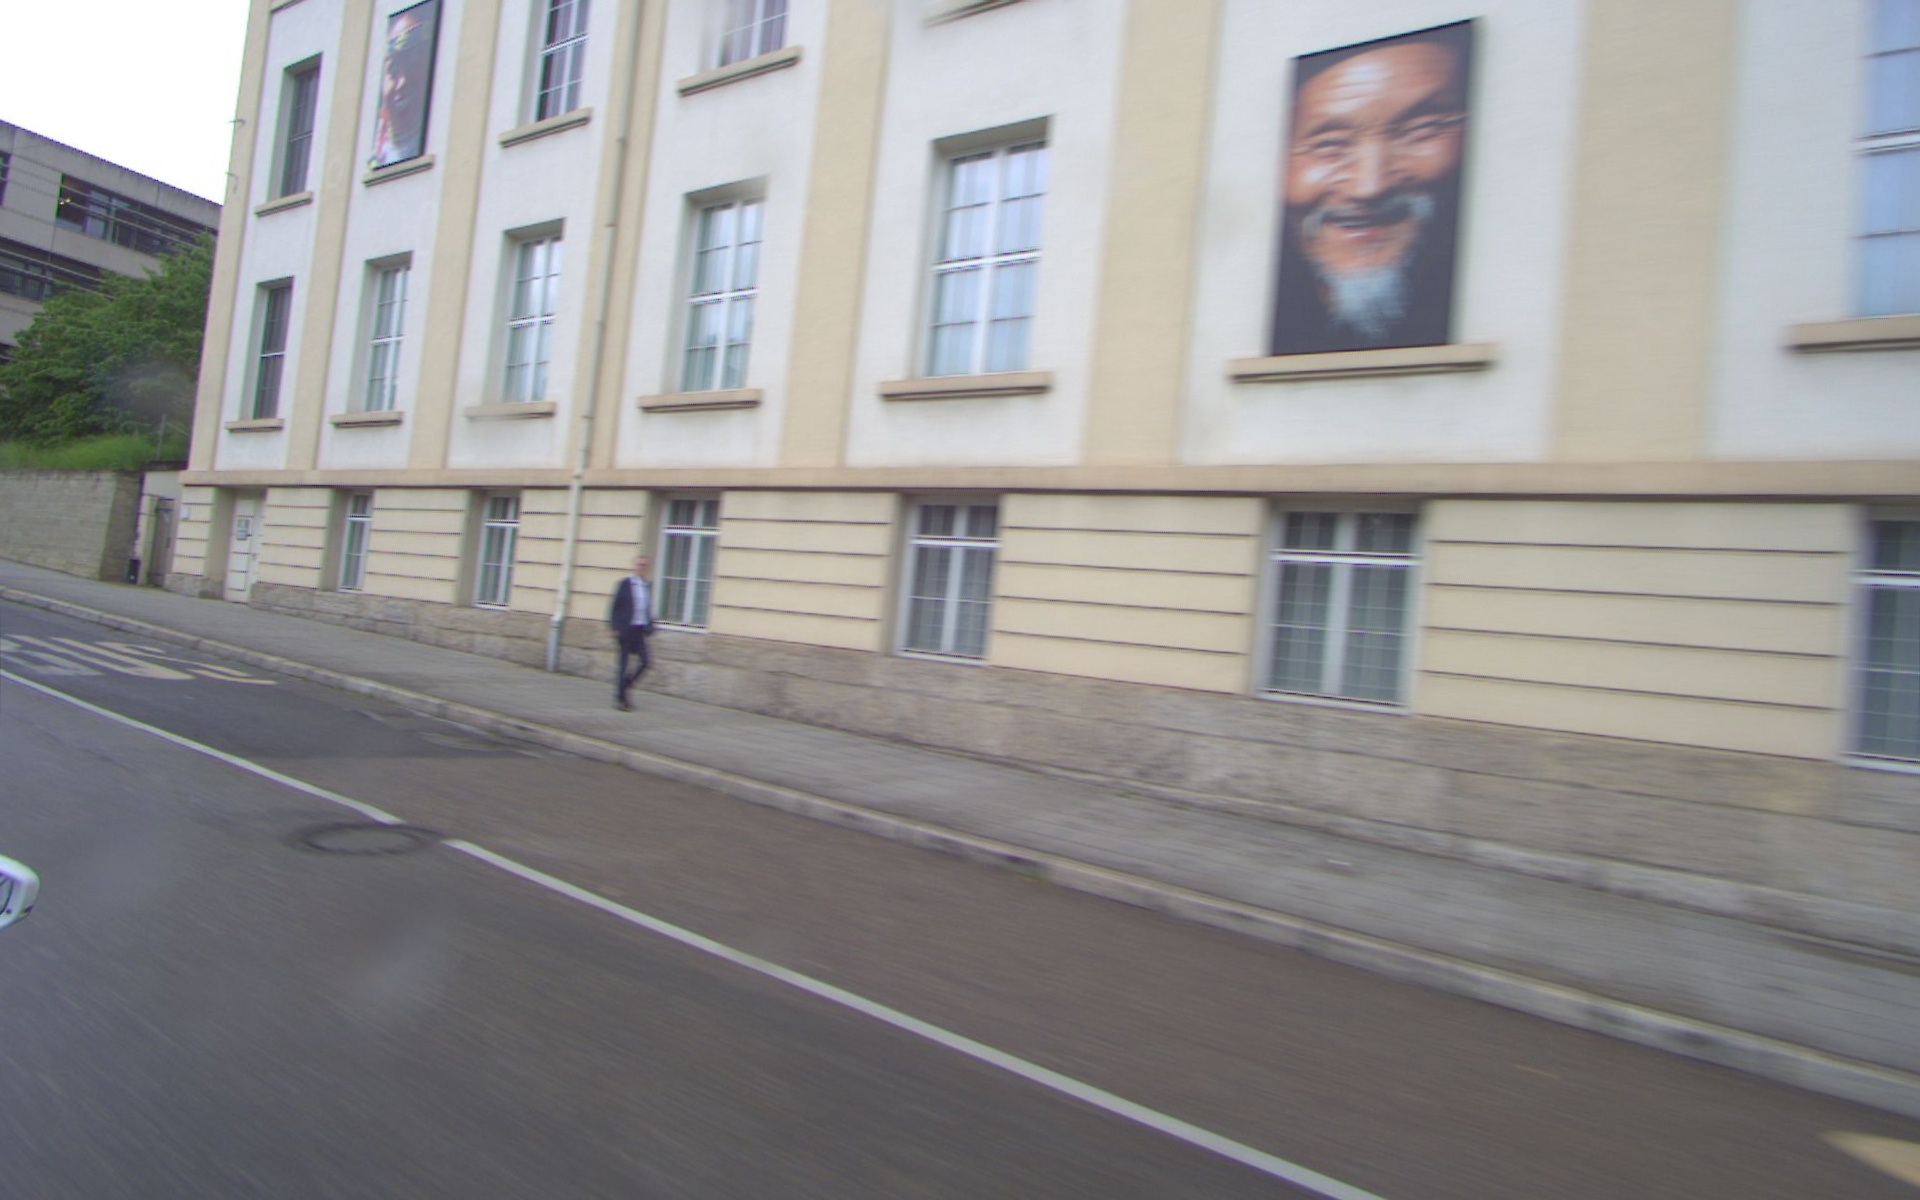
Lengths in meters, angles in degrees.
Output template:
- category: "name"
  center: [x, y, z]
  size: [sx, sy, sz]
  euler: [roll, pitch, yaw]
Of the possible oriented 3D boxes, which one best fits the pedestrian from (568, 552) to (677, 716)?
- category: "pedestrian"
  center: [-3.978, 0.401, 11.861]
  size: [0.838, 1.819, 0.671]
  euler: [6, -1, 33]
